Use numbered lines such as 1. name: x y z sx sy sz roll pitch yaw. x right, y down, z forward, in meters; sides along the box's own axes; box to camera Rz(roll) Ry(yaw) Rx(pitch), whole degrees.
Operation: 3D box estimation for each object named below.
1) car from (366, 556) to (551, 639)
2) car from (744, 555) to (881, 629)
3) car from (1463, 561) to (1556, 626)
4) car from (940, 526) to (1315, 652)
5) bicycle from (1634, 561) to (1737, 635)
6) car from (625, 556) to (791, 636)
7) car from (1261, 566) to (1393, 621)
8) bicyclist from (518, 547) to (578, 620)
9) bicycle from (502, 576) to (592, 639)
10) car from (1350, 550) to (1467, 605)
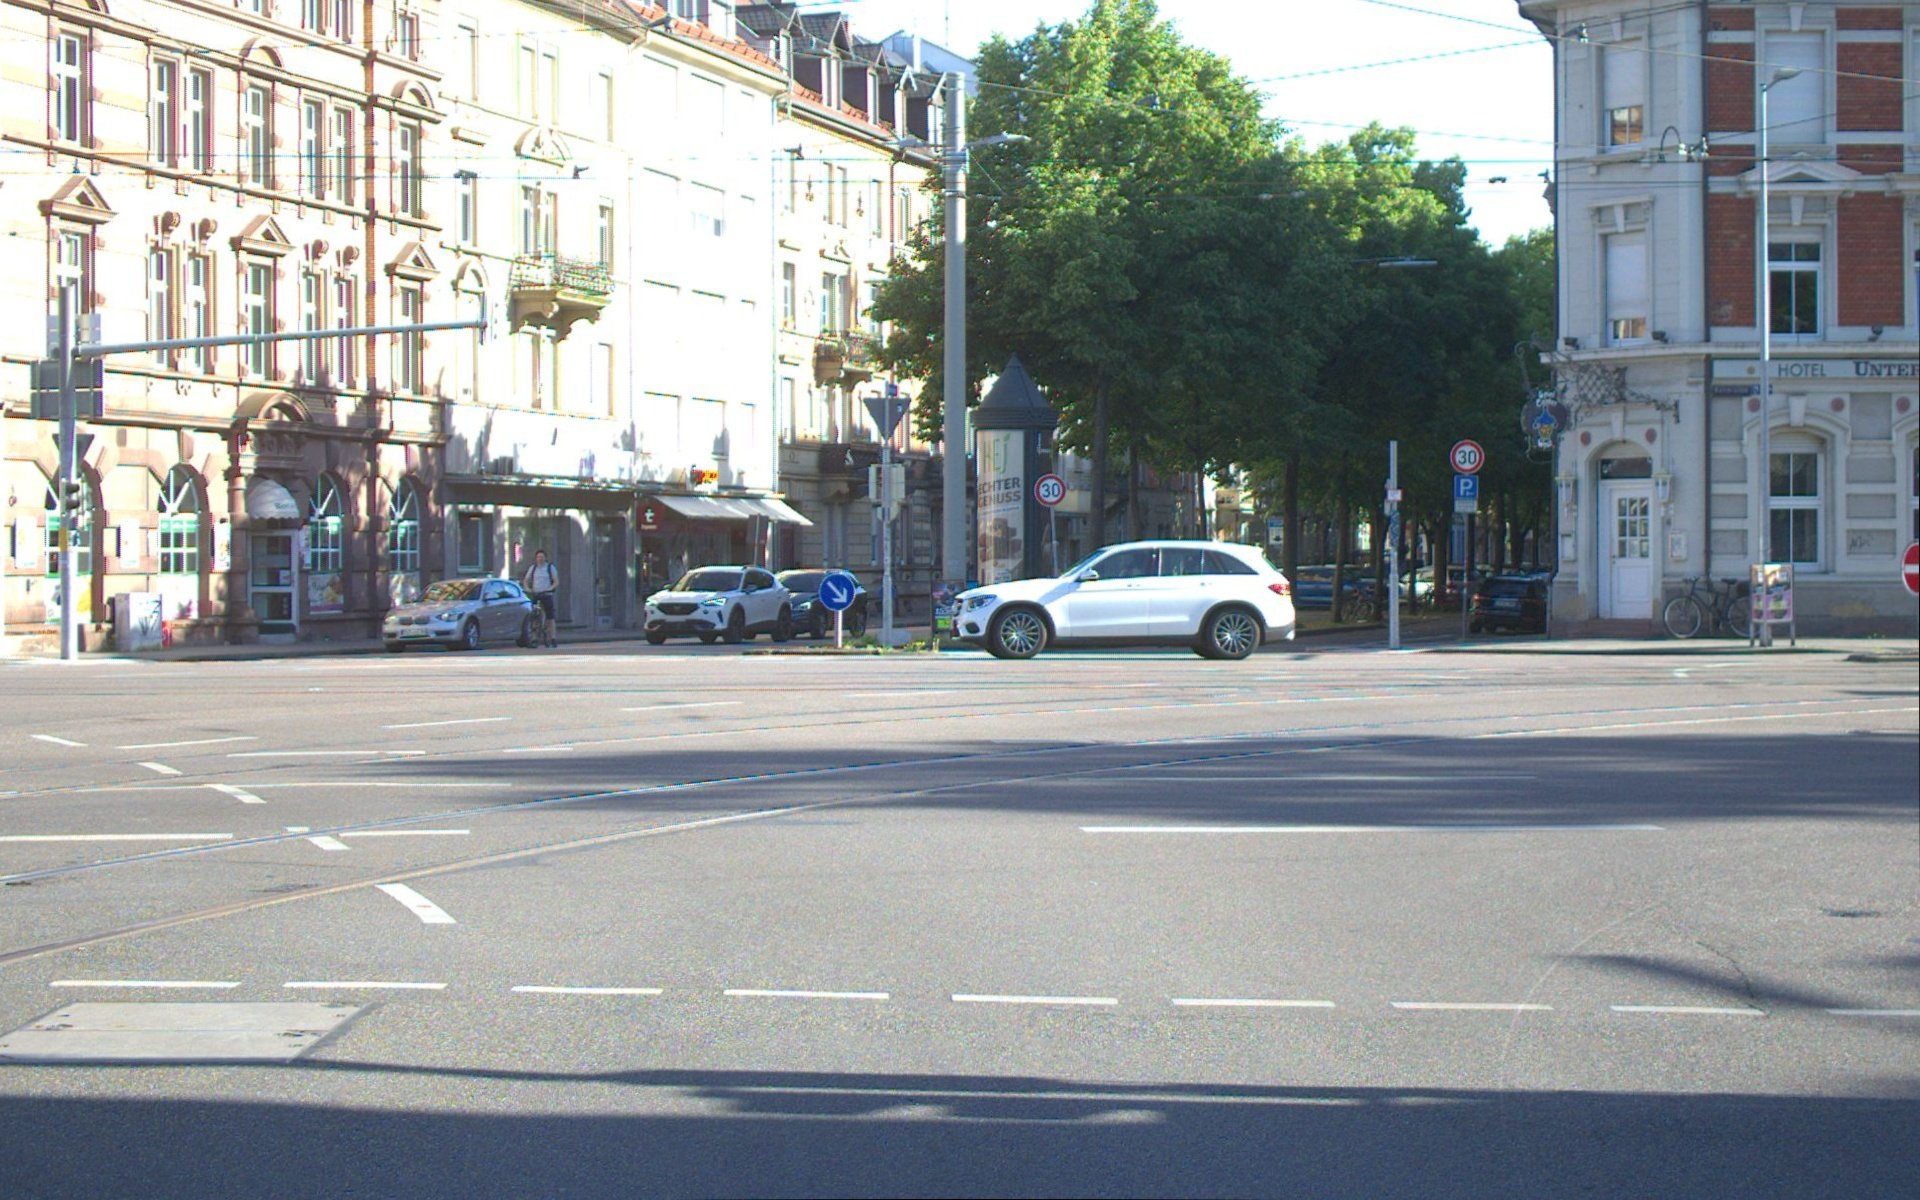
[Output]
1. car: -9.775 -0.070 67.379 2.098 1.540 4.361 0 1 14
2. car: -3.127 -0.190 73.532 1.994 1.508 3.998 0 1 12
3. car: 13.170 -0.157 82.284 1.652 1.519 3.750 0 0 17
4. car: 2.232 -0.172 46.755 4.847 1.654 2.000 0 1 -5
5. bicycle: 12.063 -0.034 57.132 1.639 1.218 0.606 0 1 16
6. car: -4.877 -0.103 67.165 2.098 1.494 3.998 0 1 14
7. car: 12.295 -0.227 115.224 4.113 1.640 1.745 3 1 15
8. bicyclist: -7.852 -0.314 65.590 0.794 1.370 1.107 0 1 14
9. bicycle: -7.865 0.128 65.628 0.751 1.131 2.808 0 1 14
10. car: 17.413 -0.879 133.422 4.115 1.912 1.744 3 1 21
